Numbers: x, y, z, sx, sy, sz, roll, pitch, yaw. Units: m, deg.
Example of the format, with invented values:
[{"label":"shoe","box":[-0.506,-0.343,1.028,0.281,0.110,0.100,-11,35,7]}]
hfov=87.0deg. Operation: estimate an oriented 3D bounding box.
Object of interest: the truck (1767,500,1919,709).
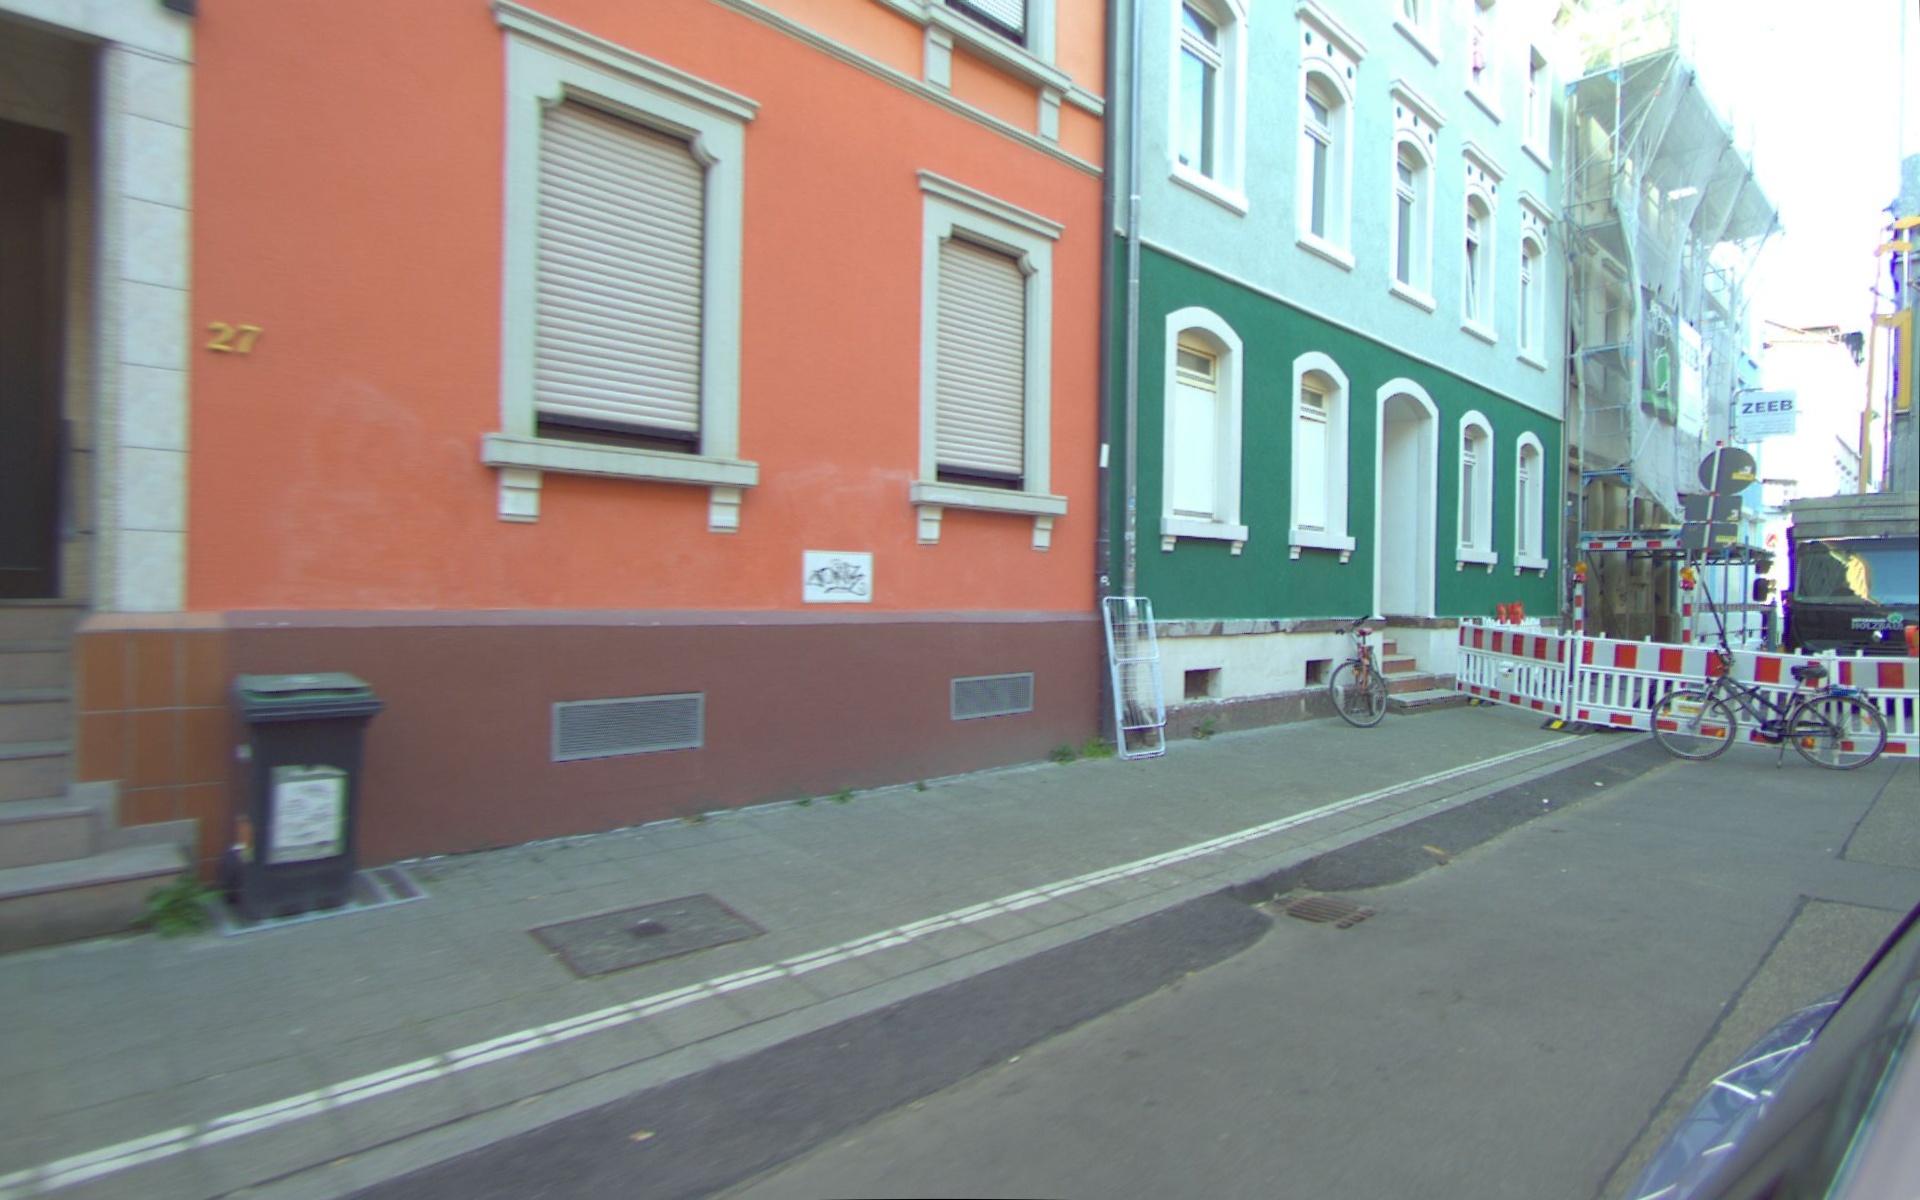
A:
[{"label":"truck","box":[15.571,0.038,16.541,7.268,2.850,2.664,0,0,-43]}]

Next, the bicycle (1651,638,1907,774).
[{"label":"bicycle","box":[7.770,0.959,9.693,1.847,1.124,0.634,0,0,41]}]

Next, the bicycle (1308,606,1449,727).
[{"label":"bicycle","box":[4.567,0.672,10.981,1.803,1.142,0.656,0,5,-43]}]

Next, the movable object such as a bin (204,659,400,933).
[{"label":"movable object such as a bin","box":[-2.690,0.748,4.135,0.570,0.917,0.598,-1,4,-44]}]
